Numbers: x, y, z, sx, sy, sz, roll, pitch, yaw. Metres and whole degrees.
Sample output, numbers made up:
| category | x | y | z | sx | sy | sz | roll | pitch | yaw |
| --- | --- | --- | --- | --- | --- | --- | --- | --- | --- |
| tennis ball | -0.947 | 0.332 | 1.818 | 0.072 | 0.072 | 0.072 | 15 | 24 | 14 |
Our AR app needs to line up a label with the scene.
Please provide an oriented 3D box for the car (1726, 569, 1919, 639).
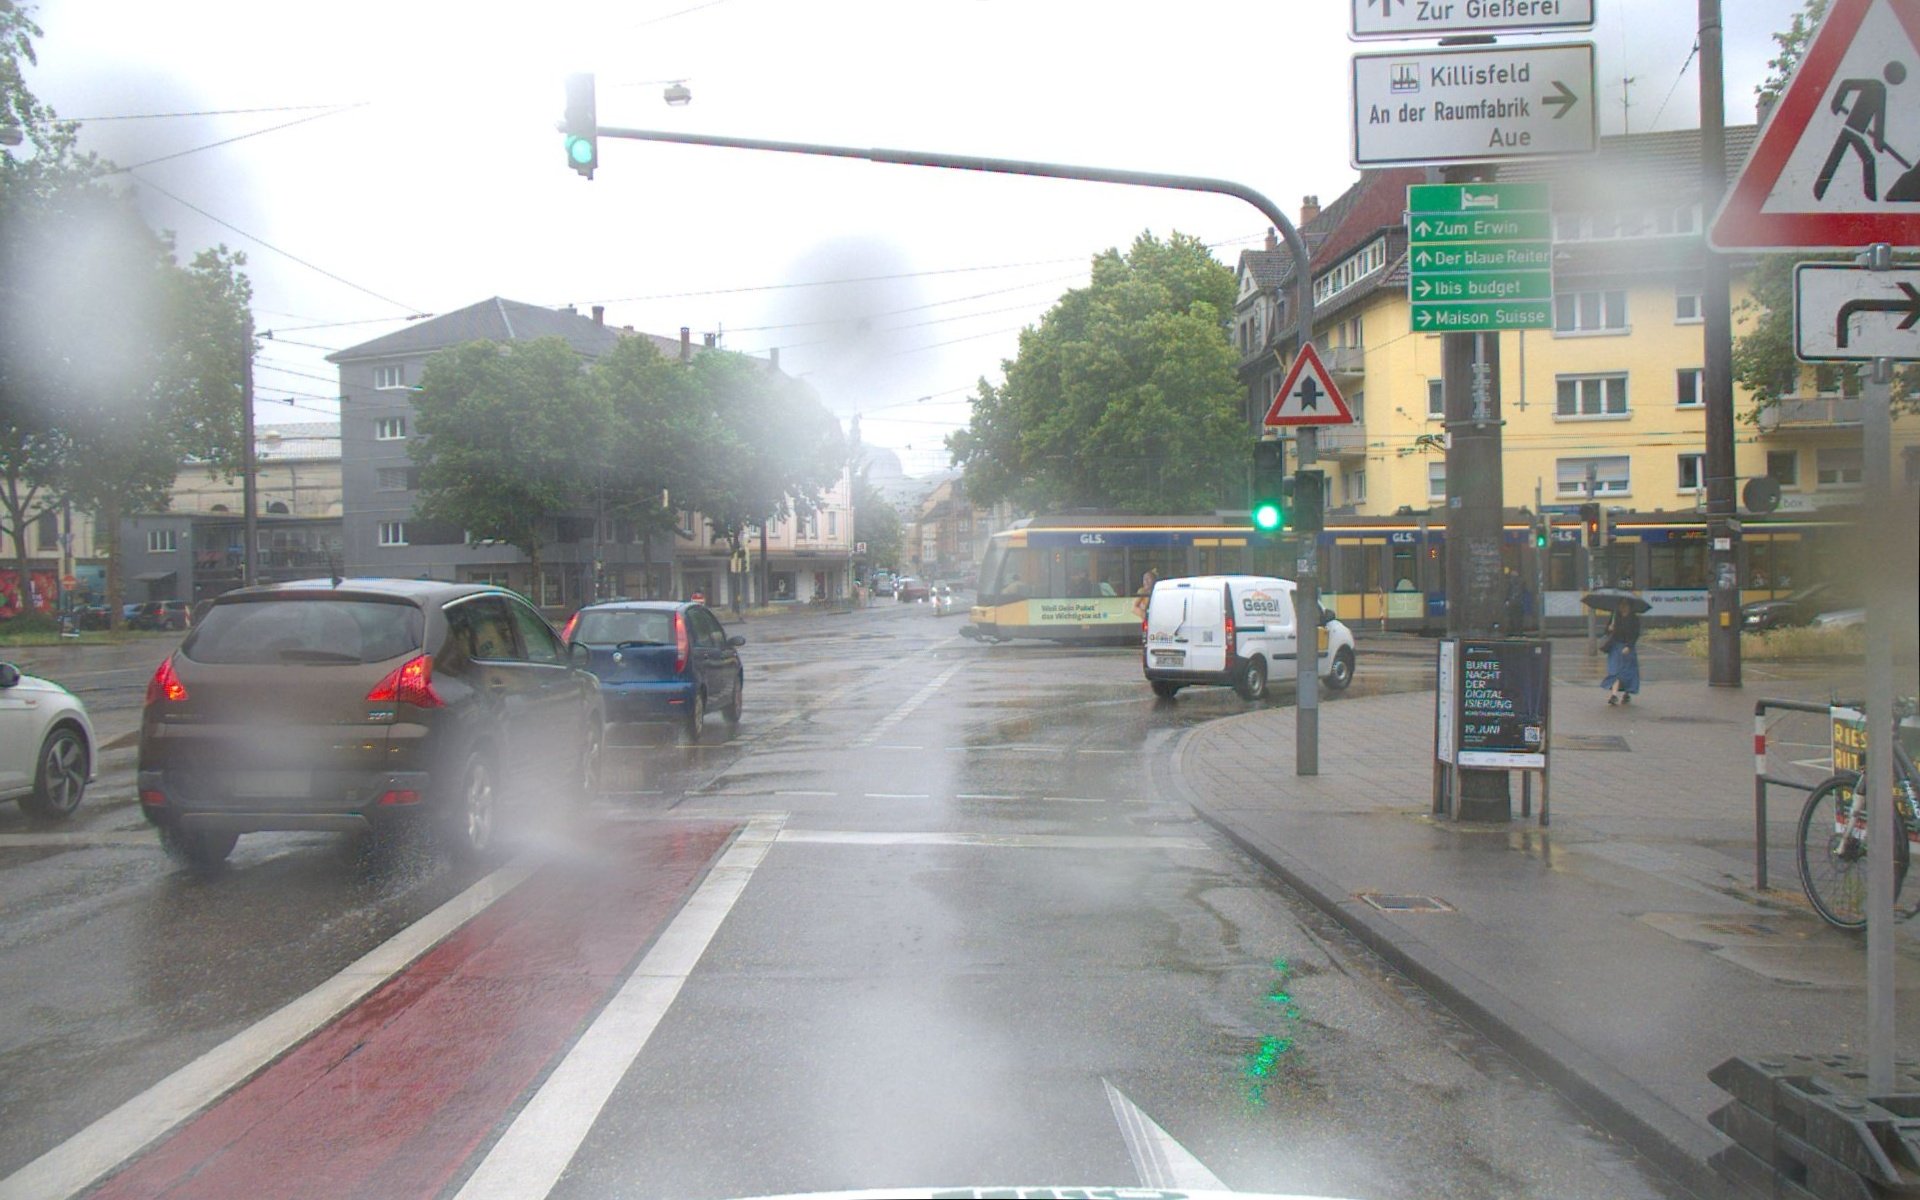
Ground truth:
| category | x | y | z | sx | sy | sz | roll | pitch | yaw |
| --- | --- | --- | --- | --- | --- | --- | --- | --- | --- |
| car | 20.659 | 0.075 | 39.186 | 4.179 | 1.528 | 1.881 | -1 | 1 | 8 |

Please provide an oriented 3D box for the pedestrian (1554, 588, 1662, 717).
| category | x | y | z | sx | sy | sz | roll | pitch | yaw |
| --- | --- | --- | --- | --- | --- | --- | --- | --- | --- |
| pedestrian | 8.955 | 0.694 | 22.856 | 1.087 | 1.696 | 0.991 | 1 | 1 | 44 |

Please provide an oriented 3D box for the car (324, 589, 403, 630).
| category | x | y | z | sx | sy | sz | roll | pitch | yaw |
| --- | --- | --- | --- | --- | --- | --- | --- | --- | --- |
| car | -31.301 | 0.478 | 86.908 | 1.951 | 2.048 | 4.003 | 0 | 1 | 16 |

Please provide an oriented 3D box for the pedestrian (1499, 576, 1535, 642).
| category | x | y | z | sx | sy | sz | roll | pitch | yaw |
| --- | --- | --- | --- | --- | --- | --- | --- | --- | --- |
| pedestrian | 14.709 | 0.221 | 43.654 | 0.796 | 1.706 | 1.016 | 0 | 1 | 25 |

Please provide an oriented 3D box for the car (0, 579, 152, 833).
| category | x | y | z | sx | sy | sz | roll | pitch | yaw |
| --- | --- | --- | --- | --- | --- | --- | --- | --- | --- |
| car | -6.843 | 0.676 | 10.046 | 1.769 | 1.563 | 4.191 | -1 | 1 | 0 |

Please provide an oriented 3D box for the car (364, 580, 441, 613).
| category | x | y | z | sx | sy | sz | roll | pitch | yaw |
| --- | --- | --- | --- | --- | --- | --- | --- | --- | --- |
| car | -29.157 | -0.192 | 86.561 | 1.880 | 1.646 | 4.003 | 0 | 1 | 16 |

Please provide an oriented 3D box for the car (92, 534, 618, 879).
| category | x | y | z | sx | sy | sz | roll | pitch | yaw |
| --- | --- | --- | --- | --- | --- | --- | --- | --- | --- |
| car | -3.481 | 0.490 | 10.440 | 1.764 | 1.739 | 4.191 | 0 | 1 | 0 |

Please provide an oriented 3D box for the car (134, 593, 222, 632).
| category | x | y | z | sx | sy | sz | roll | pitch | yaw |
| --- | --- | --- | --- | --- | --- | --- | --- | --- | --- |
| car | -42.953 | 0.705 | 90.899 | 1.956 | 2.049 | 3.993 | 1 | 0 | 29 |

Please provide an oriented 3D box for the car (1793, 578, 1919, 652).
| category | x | y | z | sx | sy | sz | roll | pitch | yaw |
| --- | --- | --- | --- | --- | --- | --- | --- | --- | --- |
| car | 20.756 | 0.309 | 35.994 | 4.390 | 1.515 | 1.742 | -1 | 1 | 13 |

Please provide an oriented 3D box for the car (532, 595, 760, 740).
| category | x | y | z | sx | sy | sz | roll | pitch | yaw |
| --- | --- | --- | --- | --- | --- | --- | --- | --- | --- |
| car | -3.455 | 0.752 | 18.896 | 1.844 | 1.485 | 3.831 | 0 | -2 | 0 |

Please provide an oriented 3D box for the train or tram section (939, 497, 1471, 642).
| category | x | y | z | sx | sy | sz | roll | pitch | yaw |
| --- | --- | --- | --- | --- | --- | --- | --- | --- | --- |
| train or tram section | 6.715 | -0.833 | 44.746 | 14.294 | 3.620 | 3.103 | 0 | 1 | -16 |

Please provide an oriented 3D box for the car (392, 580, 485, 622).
| category | x | y | z | sx | sy | sz | roll | pitch | yaw |
| --- | --- | --- | --- | --- | --- | --- | --- | --- | --- |
| car | -26.642 | 0.035 | 84.683 | 2.022 | 2.048 | 4.391 | 1 | 1 | 29 |

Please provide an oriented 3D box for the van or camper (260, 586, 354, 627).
| category | x | y | z | sx | sy | sz | roll | pitch | yaw |
| --- | --- | --- | --- | --- | --- | --- | --- | --- | --- |
| van or camper | -34.283 | 0.331 | 86.962 | 1.953 | 2.111 | 4.654 | 0 | 0 | 22 |

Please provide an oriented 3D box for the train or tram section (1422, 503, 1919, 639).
| category | x | y | z | sx | sy | sz | roll | pitch | yaw |
| --- | --- | --- | --- | --- | --- | --- | --- | --- | --- |
| train or tram section | 20.444 | -0.836 | 45.939 | 14.318 | 3.620 | 3.118 | 0 | 1 | 5 |

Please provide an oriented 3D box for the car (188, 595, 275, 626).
| category | x | y | z | sx | sy | sz | roll | pitch | yaw |
| --- | --- | --- | --- | --- | --- | --- | --- | --- | --- |
| car | -39.113 | 0.588 | 88.890 | 1.953 | 1.642 | 3.998 | 0 | -1 | 24 |

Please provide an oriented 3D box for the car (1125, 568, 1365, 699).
| category | x | y | z | sx | sy | sz | roll | pitch | yaw |
| --- | --- | --- | --- | --- | --- | --- | --- | --- | --- |
| car | 4.490 | 0.438 | 25.653 | 1.875 | 1.828 | 4.092 | 1 | 2 | 40 |

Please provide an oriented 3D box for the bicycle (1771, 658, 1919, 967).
| category | x | y | z | sx | sy | sz | roll | pitch | yaw |
| --- | --- | --- | --- | --- | --- | --- | --- | --- | --- |
| bicycle | 4.126 | 0.900 | 6.995 | 0.413 | 1.188 | 1.792 | 2 | 1 | -2 |
